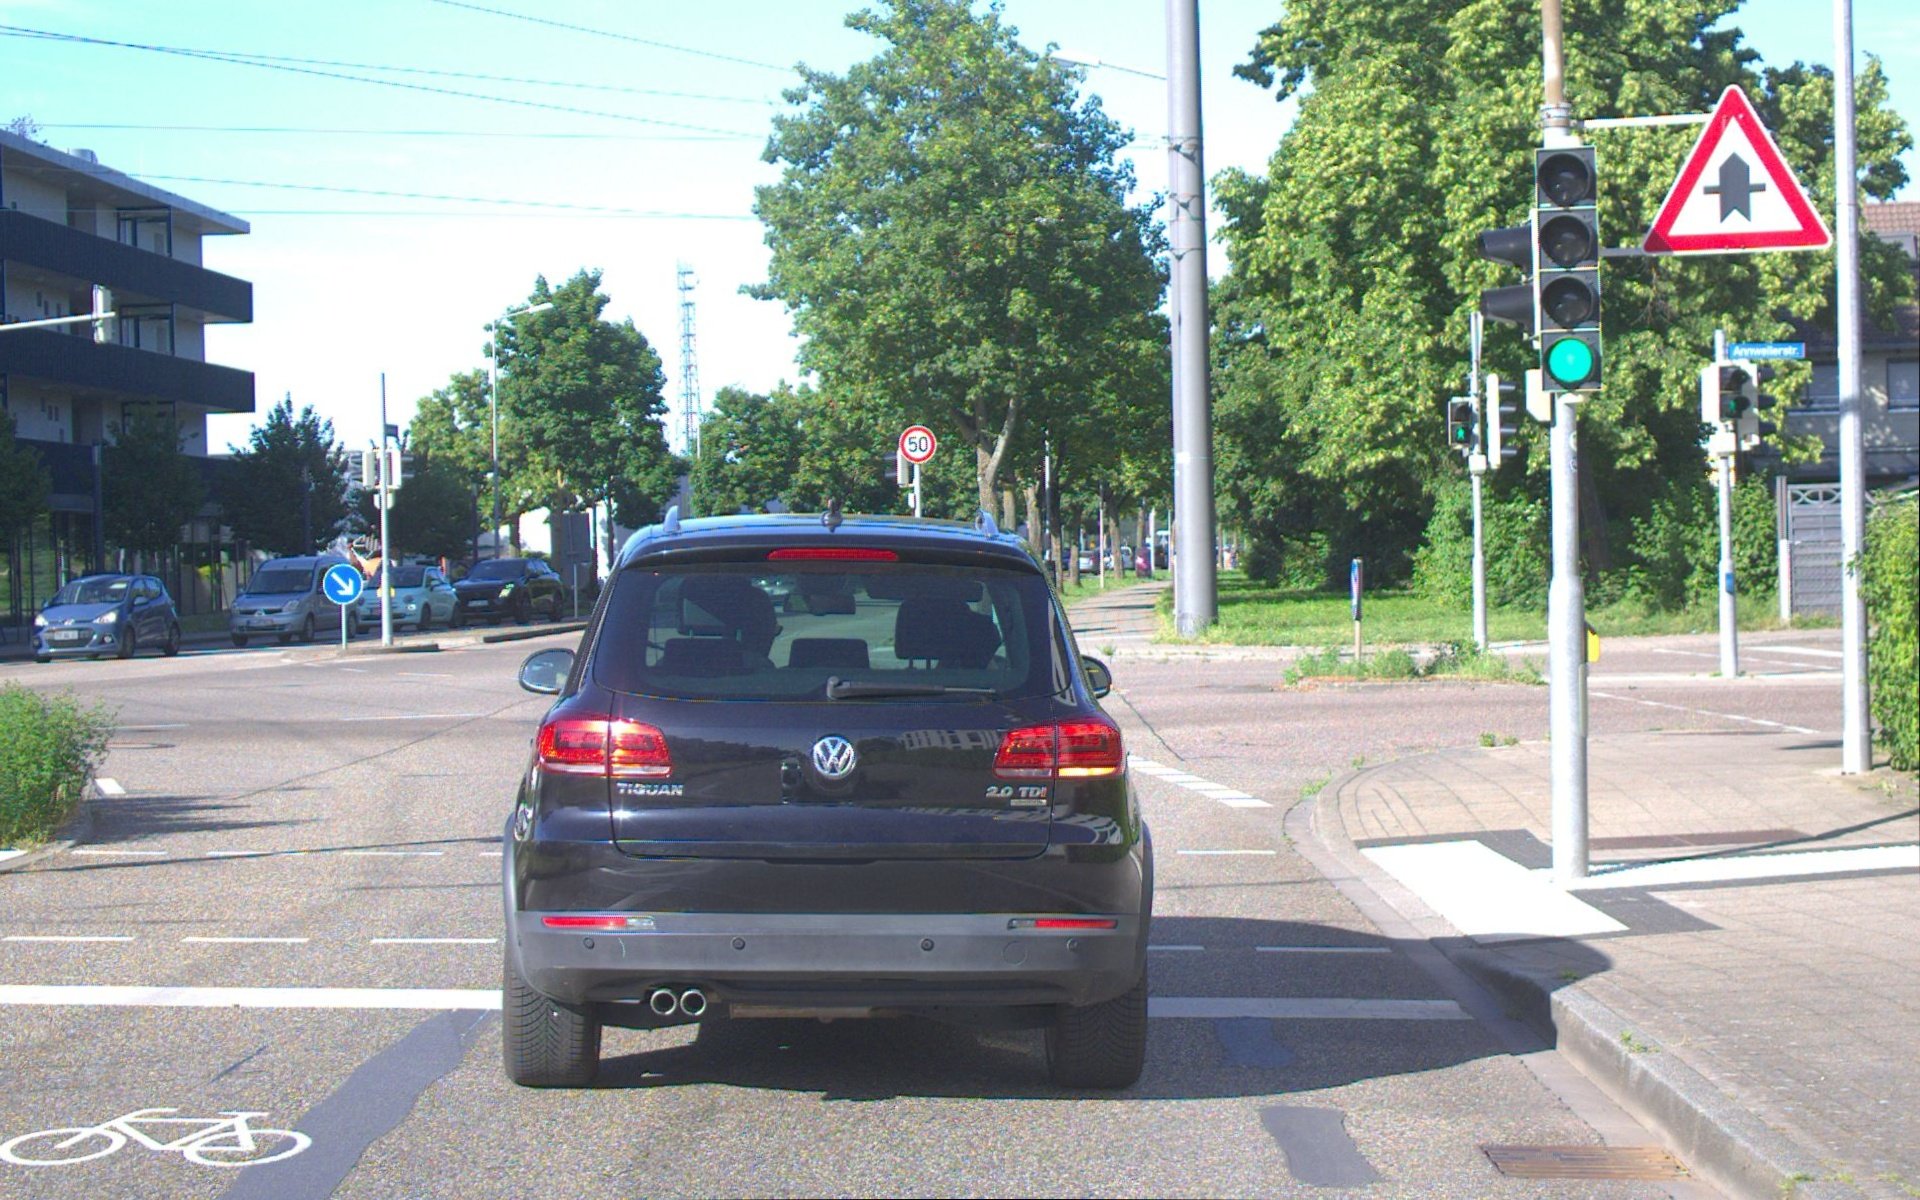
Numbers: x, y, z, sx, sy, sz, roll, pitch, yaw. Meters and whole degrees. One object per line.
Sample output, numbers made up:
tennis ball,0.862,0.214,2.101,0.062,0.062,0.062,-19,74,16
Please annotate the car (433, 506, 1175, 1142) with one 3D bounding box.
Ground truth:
car,-0.435,0.558,11.269,1.929,1.649,4.514,1,1,-1

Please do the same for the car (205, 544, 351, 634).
car,-13.984,-0.253,70.712,1.993,1.749,4.362,-1,1,2

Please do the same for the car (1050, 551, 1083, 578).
car,7.078,-2.352,228.655,1.895,1.752,3.999,1,1,6

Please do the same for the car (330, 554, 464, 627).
car,-12.718,-0.235,77.863,1.994,1.482,3.543,-3,1,7

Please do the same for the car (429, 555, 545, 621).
car,-11.648,-0.325,84.936,1.967,1.529,4.740,-1,1,3

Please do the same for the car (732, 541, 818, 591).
car,-6.046,-1.131,112.858,1.994,1.566,3.999,-2,1,9

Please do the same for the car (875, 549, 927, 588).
car,-2.717,-1.477,159.175,1.994,1.731,5.199,-2,1,3

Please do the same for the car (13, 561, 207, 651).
car,-14.924,0.086,60.615,1.696,1.451,4.451,-1,1,9
